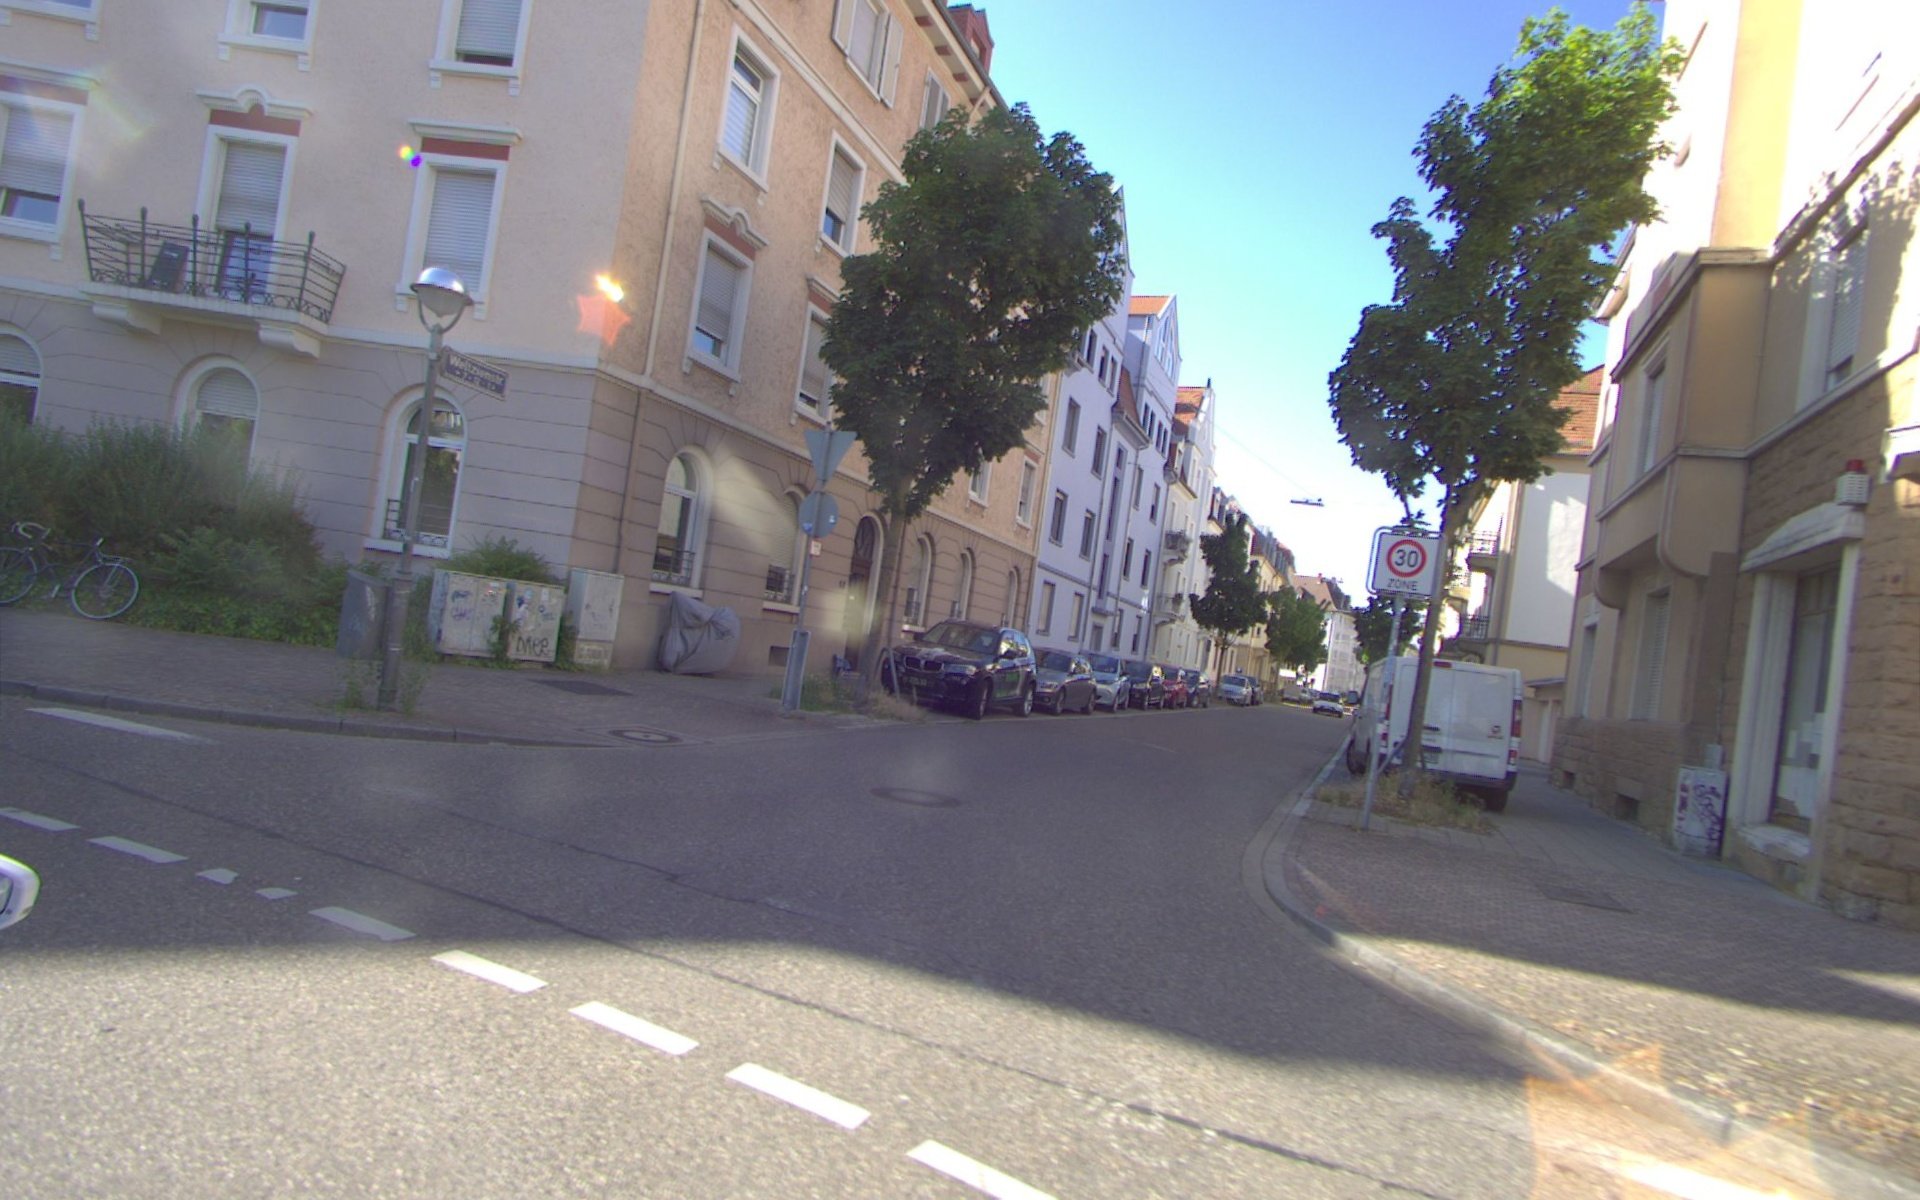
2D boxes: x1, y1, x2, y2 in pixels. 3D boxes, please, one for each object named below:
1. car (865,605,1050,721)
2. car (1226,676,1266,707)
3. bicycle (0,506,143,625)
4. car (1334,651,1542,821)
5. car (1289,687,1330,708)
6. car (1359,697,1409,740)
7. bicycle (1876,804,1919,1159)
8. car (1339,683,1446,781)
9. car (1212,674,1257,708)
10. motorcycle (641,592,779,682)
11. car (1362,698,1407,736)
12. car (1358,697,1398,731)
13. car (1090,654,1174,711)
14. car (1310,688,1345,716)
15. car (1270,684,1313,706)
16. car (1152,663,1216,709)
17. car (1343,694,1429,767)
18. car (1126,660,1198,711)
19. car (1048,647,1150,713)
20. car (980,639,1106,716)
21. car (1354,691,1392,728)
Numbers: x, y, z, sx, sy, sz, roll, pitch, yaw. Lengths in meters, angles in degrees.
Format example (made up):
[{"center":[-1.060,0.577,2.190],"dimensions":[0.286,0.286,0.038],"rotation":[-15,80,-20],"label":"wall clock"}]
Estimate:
[{"center":[0.116,1.214,18.688],"dimensions":[1.874,1.660,4.351],"rotation":[8,-2,20],"label":"car"},{"center":[17.128,5.497,60.172],"dimensions":[1.671,1.542,3.771],"rotation":[7,-2,24],"label":"car"},{"center":[-10.124,-0.401,11.049],"dimensions":[1.659,1.101,0.501],"rotation":[8,1,-10],"label":"bicycle"},{"center":[7.201,1.994,15.694],"dimensions":[2.101,1.930,4.567],"rotation":[8,-2,18],"label":"car"},{"center":[35.736,9.962,102.912],"dimensions":[3.700,1.542,1.703],"rotation":[8,-2,22],"label":"car"},{"center":[17.678,4.913,41.886],"dimensions":[1.609,1.444,3.335],"rotation":[7,-2,26],"label":"car"},{"center":[4.127,1.449,3.884],"dimensions":[0.689,1.142,1.862],"rotation":[5,-4,40],"label":"bicycle"},{"center":[8.796,2.642,20.703],"dimensions":[1.608,1.590,3.742],"rotation":[8,-2,20],"label":"car"},{"center":[14.863,4.925,54.396],"dimensions":[1.671,1.542,3.771],"rotation":[7,-2,24],"label":"car"},{"center":[-4.084,0.647,16.656],"dimensions":[0.926,1.234,2.154],"rotation":[9,-1,24],"label":"motorcycle"},{"center":[19.391,5.320,45.916],"dimensions":[1.609,1.444,3.335],"rotation":[7,-2,26],"label":"car"},{"center":[21.453,5.846,51.576],"dimensions":[1.609,1.444,3.335],"rotation":[7,-2,26],"label":"car"},{"center":[5.690,2.732,32.925],"dimensions":[1.671,1.502,3.771],"rotation":[7,-2,24],"label":"car"},{"center":[23.083,6.403,63.095],"dimensions":[1.609,1.499,3.335],"rotation":[7,-2,26],"label":"car"},{"center":[31.528,9.027,95.618],"dimensions":[3.700,1.542,1.703],"rotation":[8,-2,22],"label":"car"},{"center":[9.192,3.552,41.112],"dimensions":[1.671,1.542,3.771],"rotation":[7,-2,24],"label":"car"},{"center":[10.474,3.170,24.902],"dimensions":[1.608,1.444,3.337],"rotation":[8,-2,20],"label":"car"},{"center":[7.444,3.153,36.857],"dimensions":[1.671,1.542,3.771],"rotation":[7,-2,24],"label":"car"},{"center":[4.004,2.304,28.461],"dimensions":[1.671,1.502,4.005],"rotation":[7,-2,24],"label":"car"},{"center":[2.011,1.838,23.366],"dimensions":[1.671,1.427,3.665],"rotation":[7,-2,24],"label":"car"},{"center":[23.400,6.212,56.970],"dimensions":[1.609,1.766,3.335],"rotation":[7,-2,26],"label":"car"}]
